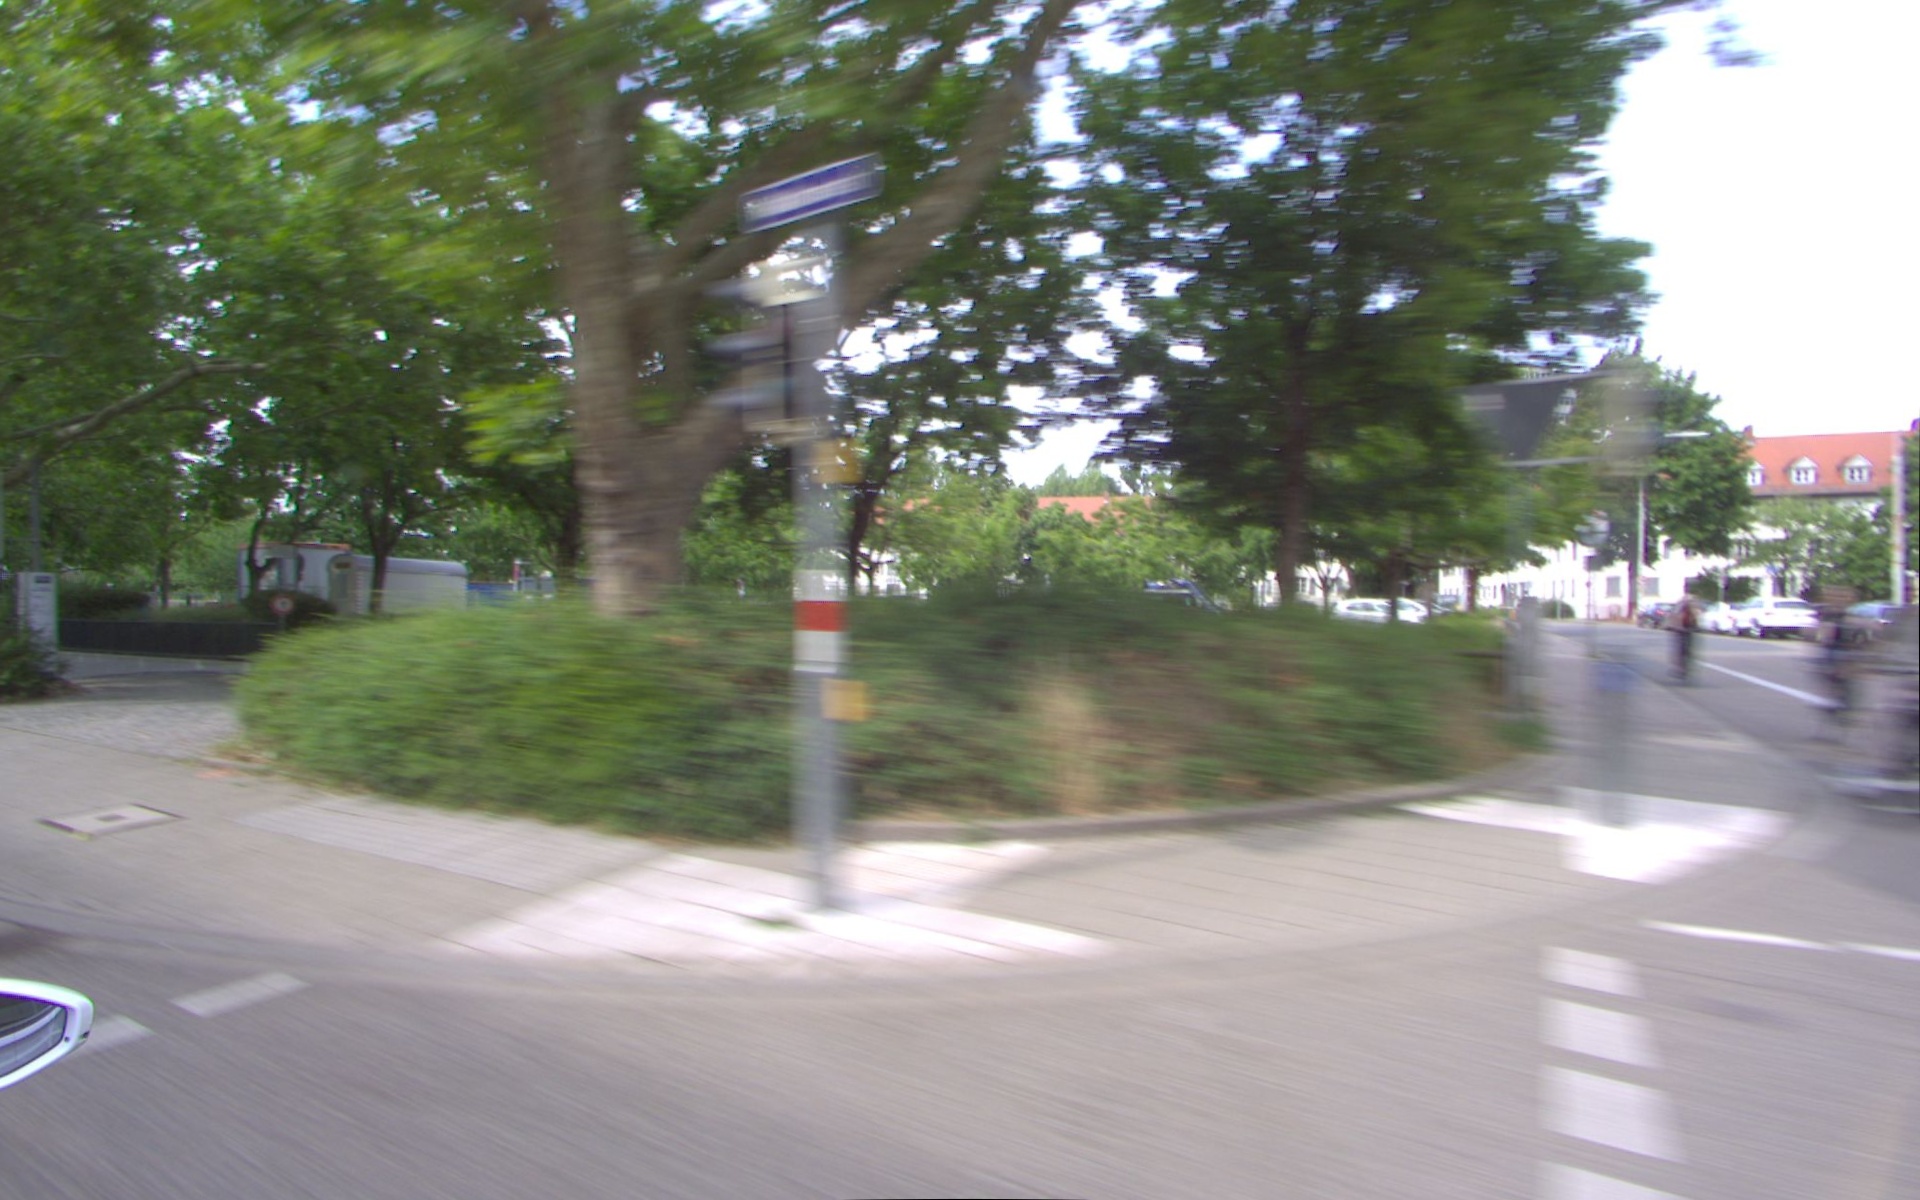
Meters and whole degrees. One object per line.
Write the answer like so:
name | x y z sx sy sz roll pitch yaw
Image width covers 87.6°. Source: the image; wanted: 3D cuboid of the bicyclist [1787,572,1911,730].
bicyclist | 9.514 0.527 10.757 0.904 1.597 0.826 -1 0 36

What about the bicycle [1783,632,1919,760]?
bicycle | 9.485 0.952 10.717 0.904 1.187 2.237 -1 -1 36

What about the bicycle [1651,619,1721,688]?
bicycle | 13.504 0.960 18.695 0.902 1.187 2.240 -1 -1 32

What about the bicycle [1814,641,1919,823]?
bicycle | 7.295 0.945 7.717 0.904 1.187 2.237 -1 -1 36

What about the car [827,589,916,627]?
car | -5.067 0.462 57.168 4.697 2.039 1.993 1 -1 27

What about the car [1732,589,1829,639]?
car | 32.587 0.578 39.919 1.920 1.885 3.871 1 -1 23

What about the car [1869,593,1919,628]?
car | 56.533 0.627 59.126 3.943 2.039 1.990 0 -1 33

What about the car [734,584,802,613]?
car | -14.228 -0.123 74.144 4.700 2.039 1.992 1 -1 29

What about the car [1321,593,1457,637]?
car | 17.046 0.581 39.859 4.706 1.651 1.990 0 -1 33

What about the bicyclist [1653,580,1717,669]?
bicyclist | 13.456 0.455 18.610 0.903 1.597 0.827 -1 0 33

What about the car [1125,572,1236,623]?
car | 11.984 -0.126 54.470 5.413 2.647 2.433 1 -1 30

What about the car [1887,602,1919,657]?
car | 26.151 0.793 26.165 1.648 1.462 3.644 1 -2 23

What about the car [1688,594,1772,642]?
car | 34.448 0.837 44.905 1.966 2.039 3.991 1 -1 23

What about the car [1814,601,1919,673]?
car | 28.210 1.130 30.662 1.966 2.039 3.991 1 -1 23

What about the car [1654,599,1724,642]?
car | 36.580 1.060 50.353 1.966 2.039 3.991 1 -1 23

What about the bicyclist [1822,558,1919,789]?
bicyclist | 7.279 0.544 7.701 0.904 1.700 0.826 -1 0 36

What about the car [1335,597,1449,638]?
car | 20.189 0.813 46.854 4.700 1.817 1.992 1 -1 30
